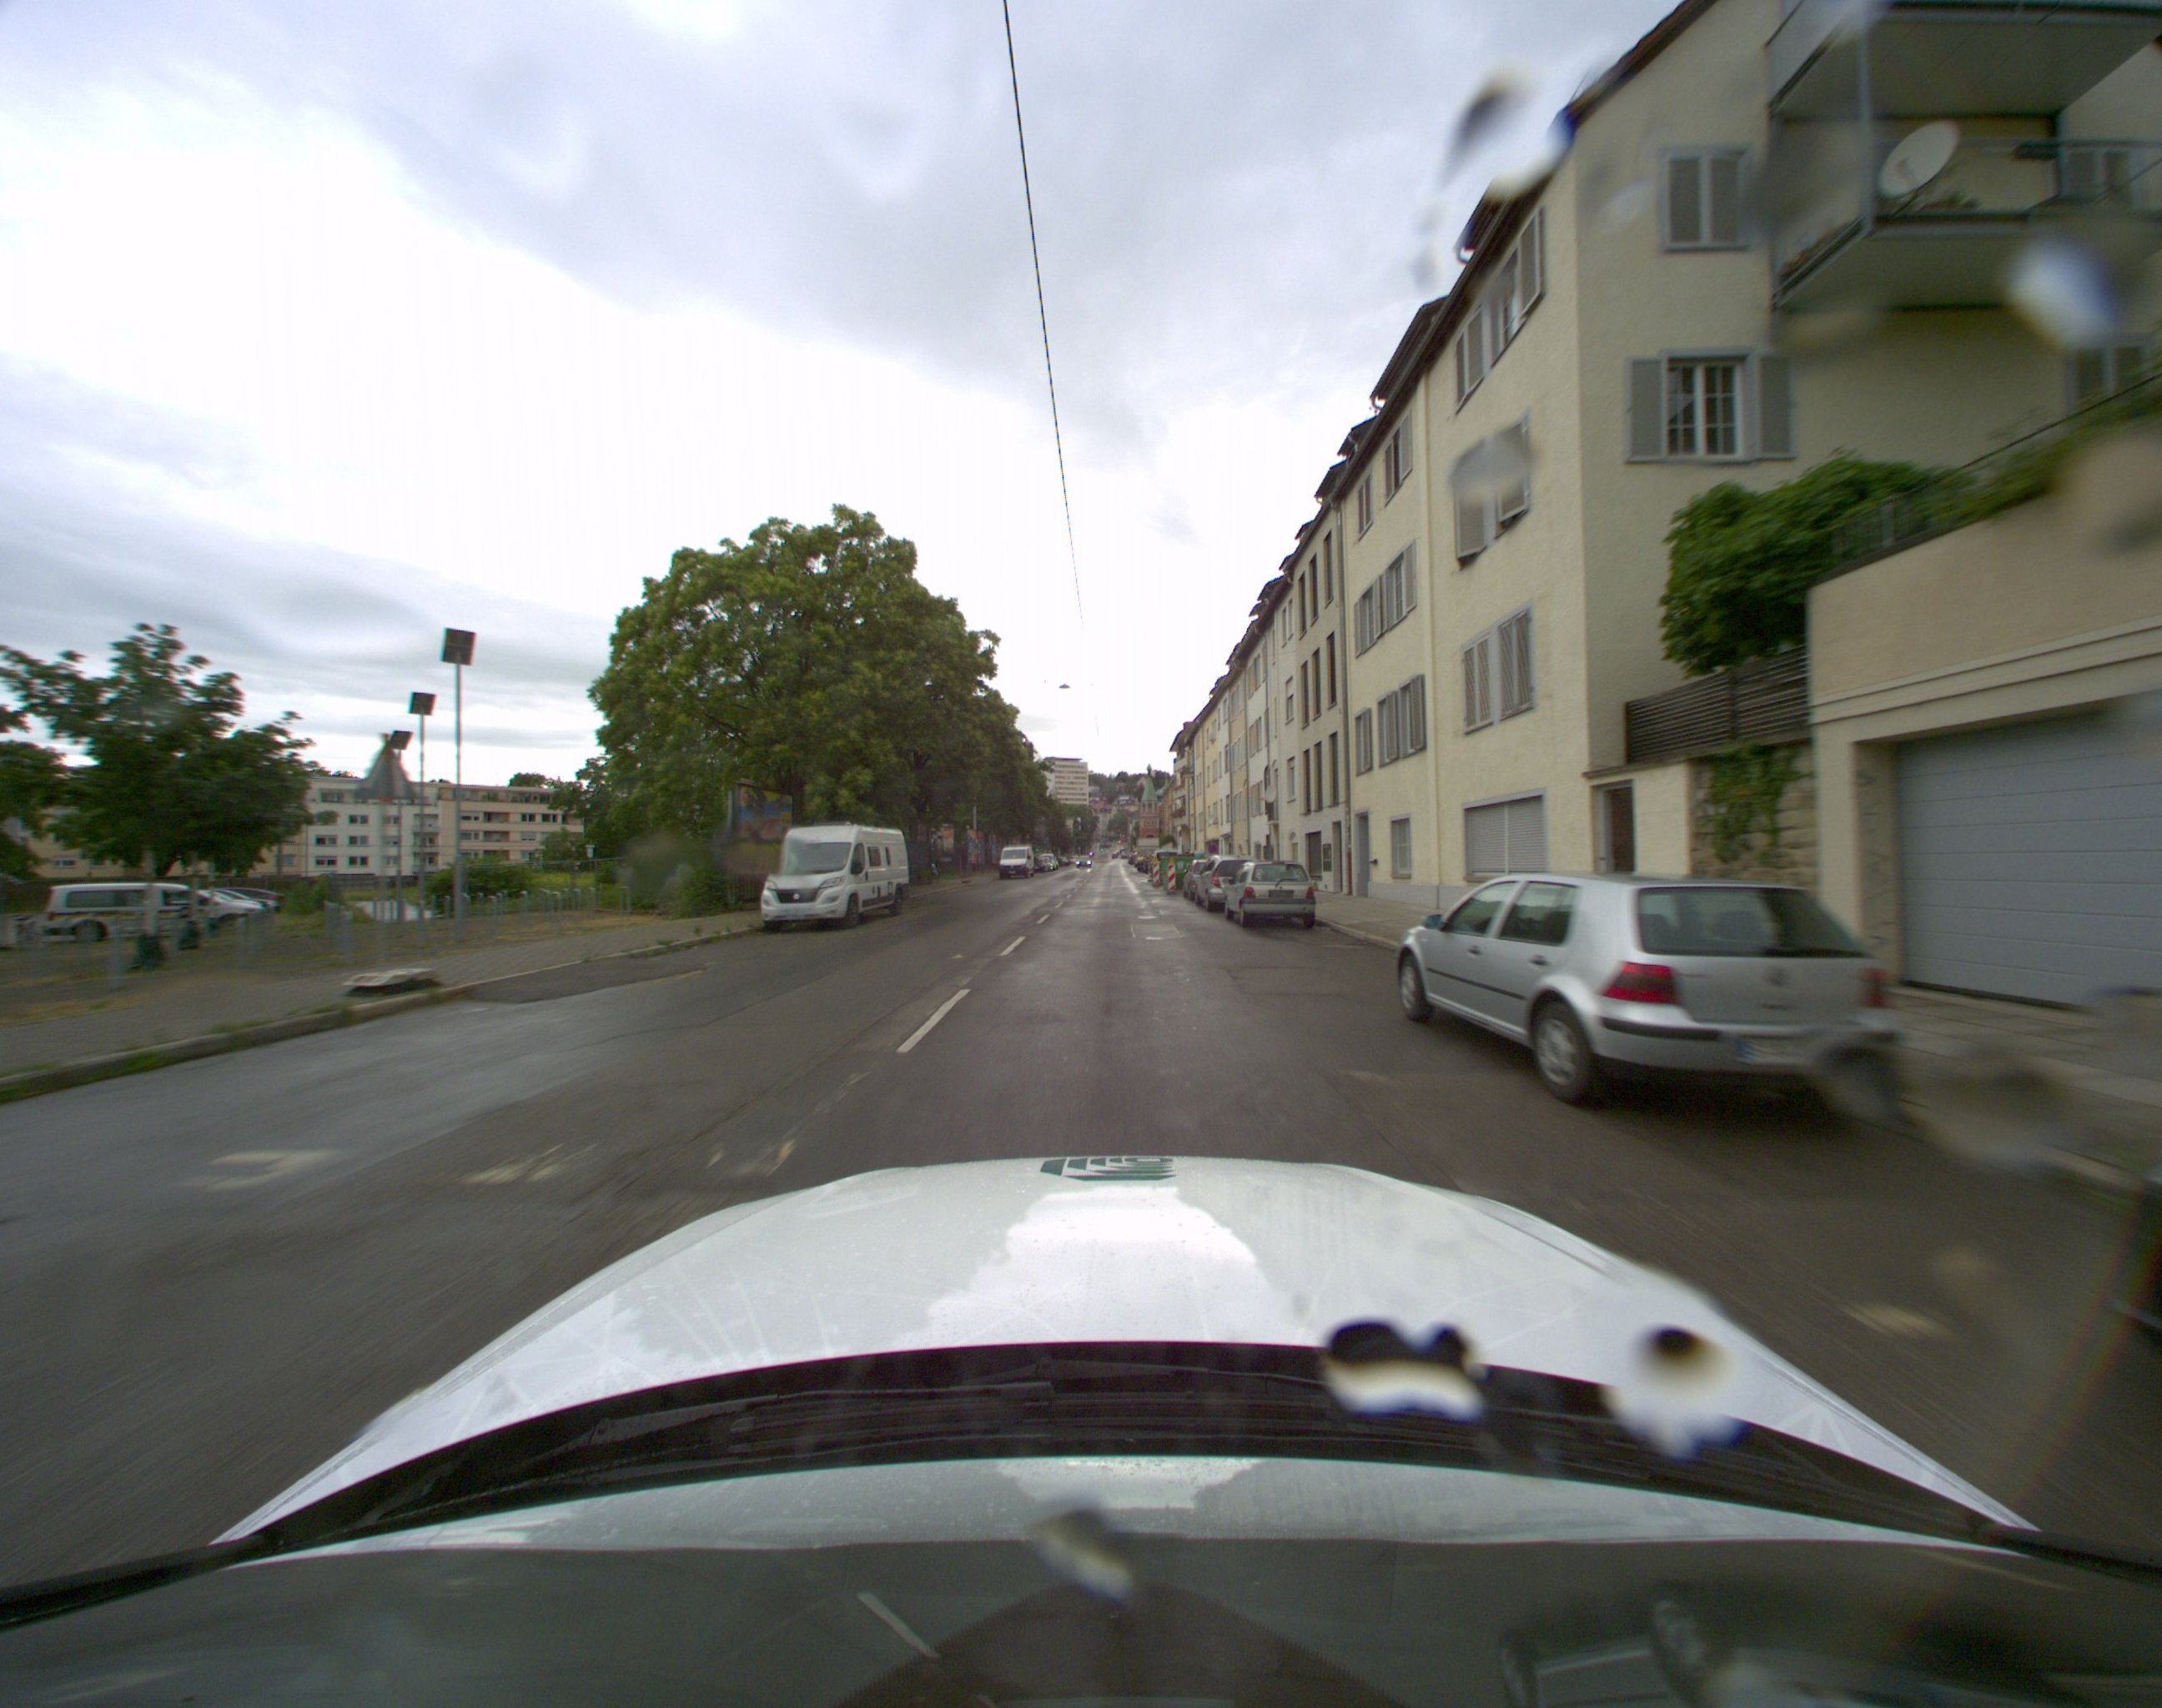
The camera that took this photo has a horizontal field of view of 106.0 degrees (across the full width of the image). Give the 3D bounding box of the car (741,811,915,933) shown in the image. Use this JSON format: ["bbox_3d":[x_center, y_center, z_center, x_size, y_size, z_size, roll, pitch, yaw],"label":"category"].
[{"bbox_3d":[-6.246,0.378,21.199,2.222,2.579,6.539,-3,0,1],"label":"car"}]

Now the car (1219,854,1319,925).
[{"bbox_3d":[4.266,0.745,18.954,1.553,1.454,3.761,0,1,2],"label":"car"}]

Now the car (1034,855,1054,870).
[{"bbox_3d":[-3.707,0.850,82.054,1.676,1.462,4.278,-2,-1,1],"label":"car"}]

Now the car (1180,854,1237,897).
[{"bbox_3d":[4.592,0.724,29.751,1.620,1.411,3.844,0,1,3],"label":"car"}]

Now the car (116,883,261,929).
[{"bbox_3d":[-37.641,2.151,34.485,1.777,1.625,4.024,-2,0,44],"label":"car"}]

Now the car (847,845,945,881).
[{"bbox_3d":[-11.340,0.545,50.163,5.482,2.009,2.146,-2,0,0],"label":"car"}]

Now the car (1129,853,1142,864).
[{"bbox_3d":[8.424,0.612,125.331,1.811,1.652,4.078,1,0,2],"label":"car"}]

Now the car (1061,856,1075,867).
[{"bbox_3d":[-1.844,1.070,116.046,1.797,1.450,4.657,-2,-1,0],"label":"car"}]

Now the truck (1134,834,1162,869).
[{"bbox_3d":[6.507,-0.236,79.938,2.459,3.172,7.040,-1,0,3],"label":"truck"}]

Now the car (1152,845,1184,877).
[{"bbox_3d":[5.642,0.428,53.468,1.810,1.924,4.242,-2,0,3],"label":"car"}]

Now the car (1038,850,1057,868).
[{"bbox_3d":[-3.567,0.537,86.799,1.717,1.800,4.345,-2,-1,2],"label":"car"}]

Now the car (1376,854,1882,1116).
[{"bbox_3d":[3.819,0.748,6.550,1.623,1.454,3.761,0,1,2],"label":"car"}]

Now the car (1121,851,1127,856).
[{"bbox_3d":[13.763,-0.168,260.380,1.723,1.653,4.006,-2,0,5],"label":"car"}]

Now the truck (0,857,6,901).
[{"bbox_3d":[-123.488,2.850,88.694,15.507,5.143,5.644,-3,1,44],"label":"truck"}]

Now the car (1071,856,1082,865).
[{"bbox_3d":[-0.690,1.081,131.225,1.703,1.450,4.295,-2,-1,1],"label":"car"}]

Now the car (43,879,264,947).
[{"bbox_3d":[-30.789,1.881,27.295,1.975,1.834,4.721,-2,0,44],"label":"car"}]

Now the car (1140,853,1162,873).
[{"bbox_3d":[5.989,0.738,69.750,1.657,1.573,4.100,-1,0,2],"label":"car"}]

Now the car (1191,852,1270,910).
[{"bbox_3d":[4.323,0.724,24.109,1.710,1.524,4.002,0,1,2],"label":"car"}]

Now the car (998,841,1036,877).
[{"bbox_3d":[-4.640,0.312,59.987,2.003,2.487,5.988,-2,0,3],"label":"car"}]

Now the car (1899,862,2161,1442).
[{"bbox_3d":[3.520,0.781,0.853,1.623,1.454,3.761,0,1,2],"label":"car"}]

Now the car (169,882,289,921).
[{"bbox_3d":[-42.276,2.303,40.506,1.777,1.625,4.024,-2,0,44],"label":"car"}]

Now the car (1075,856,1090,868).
[{"bbox_3d":[0.188,0.998,100.999,1.799,1.415,4.383,-1,0,0],"label":"car"}]

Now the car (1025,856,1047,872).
[{"bbox_3d":[-4.099,0.884,75.234,1.676,1.398,3.911,-2,-1,1],"label":"car"}]
